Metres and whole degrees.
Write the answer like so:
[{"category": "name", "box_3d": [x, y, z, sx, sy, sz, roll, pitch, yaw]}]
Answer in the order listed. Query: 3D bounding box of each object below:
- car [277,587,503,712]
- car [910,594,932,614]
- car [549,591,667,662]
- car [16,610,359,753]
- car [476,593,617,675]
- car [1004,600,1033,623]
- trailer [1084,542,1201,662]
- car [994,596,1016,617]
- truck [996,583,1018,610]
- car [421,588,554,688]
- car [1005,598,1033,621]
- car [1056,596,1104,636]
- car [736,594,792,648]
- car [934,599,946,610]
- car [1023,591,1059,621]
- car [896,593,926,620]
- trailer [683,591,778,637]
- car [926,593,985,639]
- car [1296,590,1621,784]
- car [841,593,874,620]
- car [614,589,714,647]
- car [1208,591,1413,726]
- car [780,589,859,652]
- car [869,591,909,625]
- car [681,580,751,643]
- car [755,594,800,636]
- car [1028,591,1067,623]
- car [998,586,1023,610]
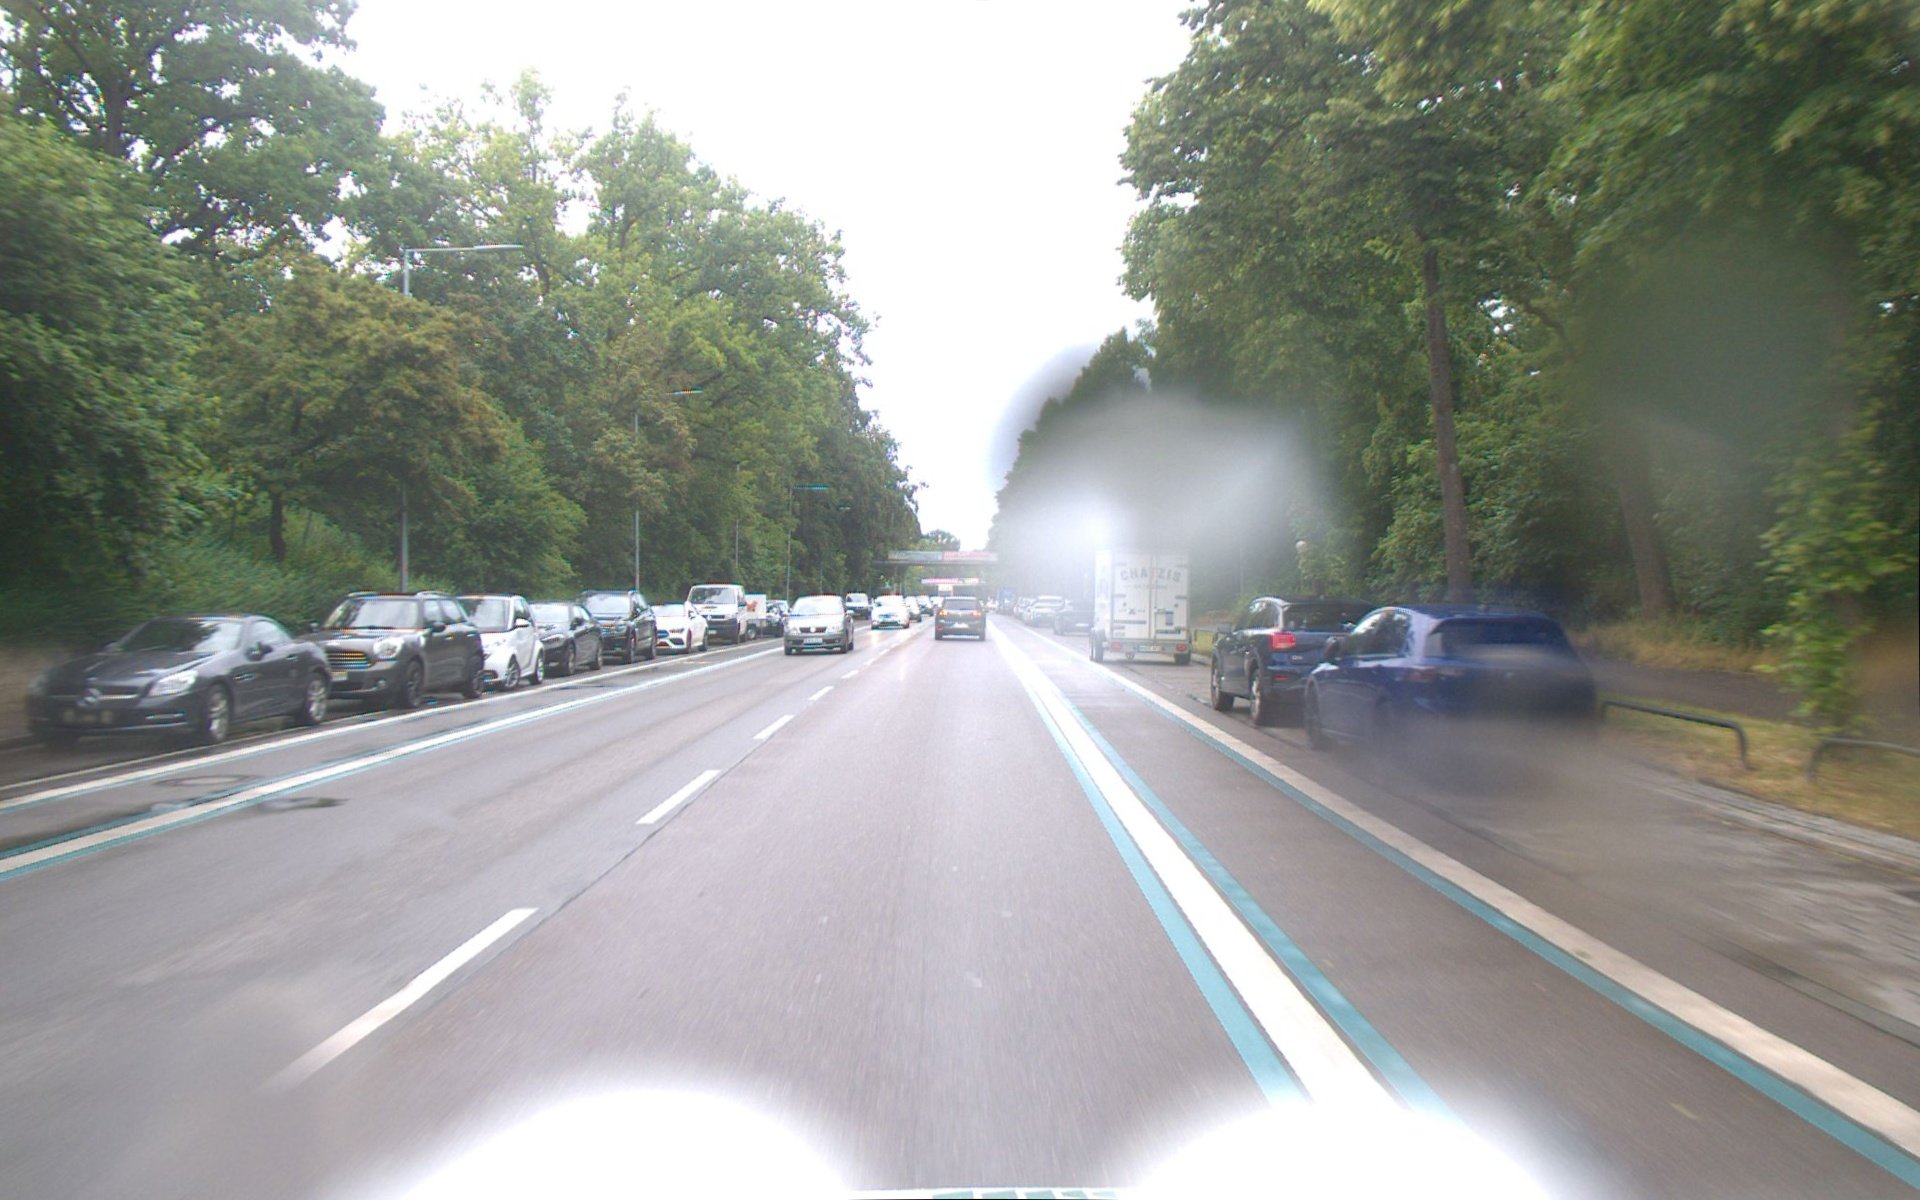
[{"category": "car", "box_3d": [-7.941, 0.625, 23.450, 1.661, 1.611, 4.140, 0, 0, 2]}, {"category": "car", "box_3d": [-3.260, 0.345, 137.211, 1.671, 1.599, 4.000, 0, 0, 1]}, {"category": "car", "box_3d": [-8.314, 0.592, 39.423, 1.841, 1.589, 4.468, 0, 0, 0]}, {"category": "car", "box_3d": [-8.204, 0.799, 18.024, 1.661, 1.323, 4.193, 0, 0, 2]}, {"category": "car", "box_3d": [-8.207, 0.629, 33.195, 1.771, 1.514, 4.467, 0, 0, -1]}, {"category": "car", "box_3d": [4.131, 0.796, 116.777, 1.952, 1.590, 4.000, 0, 0, 0]}, {"category": "trailer", "box_3d": [4.133, 0.028, 38.130, 2.089, 2.605, 4.295, 0, 0, -2]}, {"category": "car", "box_3d": [4.152, 0.606, 153.407, 1.953, 1.803, 4.000, -2, 0, 0]}, {"category": "truck", "box_3d": [4.603, -0.344, 161.498, 2.069, 2.644, 4.301, 0, 0, 0]}, {"category": "car", "box_3d": [-7.907, 0.598, 27.900, 1.431, 1.598, 2.983, 0, 0, -1]}, {"category": "car", "box_3d": [4.317, 0.683, 121.571, 1.952, 1.590, 4.000, 0, 0, 0]}, {"category": "car", "box_3d": [4.813, 0.632, 66.903, 1.686, 1.552, 4.000, 0, 0, 0]}, {"category": "car", "box_3d": [-7.814, 0.801, 66.229, 1.901, 2.049, 4.737, 0, 0, -3]}, {"category": "car", "box_3d": [-2.286, 0.505, 188.800, 1.350, 1.150, 3.313, 0, 0, 0]}, {"category": "car", "box_3d": [4.439, 0.297, 91.188, 1.858, 1.634, 4.000, 0, 0, 0]}, {"category": "car", "box_3d": [-2.991, 0.388, 101.950, 1.671, 1.599, 4.000, 0, 0, 1]}, {"category": "trailer", "box_3d": [-8.457, 0.494, 61.203, 1.595, 1.657, 3.665, 0, 0, 31]}, {"category": "car", "box_3d": [-0.190, 0.563, 56.947, 1.834, 1.466, 4.294, 1, -1, -2]}, {"category": "car", "box_3d": [4.389, 0.677, 15.264, 1.647, 1.507, 4.318, 1, 1, -1]}, {"category": "car", "box_3d": [-7.803, 0.486, 126.184, 2.114, 2.049, 5.031, 0, 0, 1]}, {"category": "car", "box_3d": [-8.130, 0.475, 45.812, 1.952, 1.514, 4.468, 0, 0, 0]}, {"category": "car", "box_3d": [4.302, 0.656, 20.873, 1.678, 1.539, 3.975, 0, 0, -1]}, {"category": "car", "box_3d": [-3.608, 0.495, 43.092, 1.664, 1.511, 4.035, -1, 0, 0]}, {"category": "car", "box_3d": [-3.379, 0.359, 79.765, 1.798, 1.544, 3.999, 0, 0, -1]}, {"category": "car", "box_3d": [-8.230, 0.359, 56.189, 1.901, 2.049, 4.737, 0, 0, -3]}, {"category": "car", "box_3d": [-8.037, 0.628, 73.012, 1.543, 1.801, 3.415, 0, 0, 1]}, {"category": "car", "box_3d": [4.567, 0.342, 86.614, 1.858, 1.634, 4.000, 0, 0, 0]}, {"category": "car", "box_3d": [4.414, -0.142, 145.375, 1.953, 2.049, 3.999, 0, 0, -1]}]
